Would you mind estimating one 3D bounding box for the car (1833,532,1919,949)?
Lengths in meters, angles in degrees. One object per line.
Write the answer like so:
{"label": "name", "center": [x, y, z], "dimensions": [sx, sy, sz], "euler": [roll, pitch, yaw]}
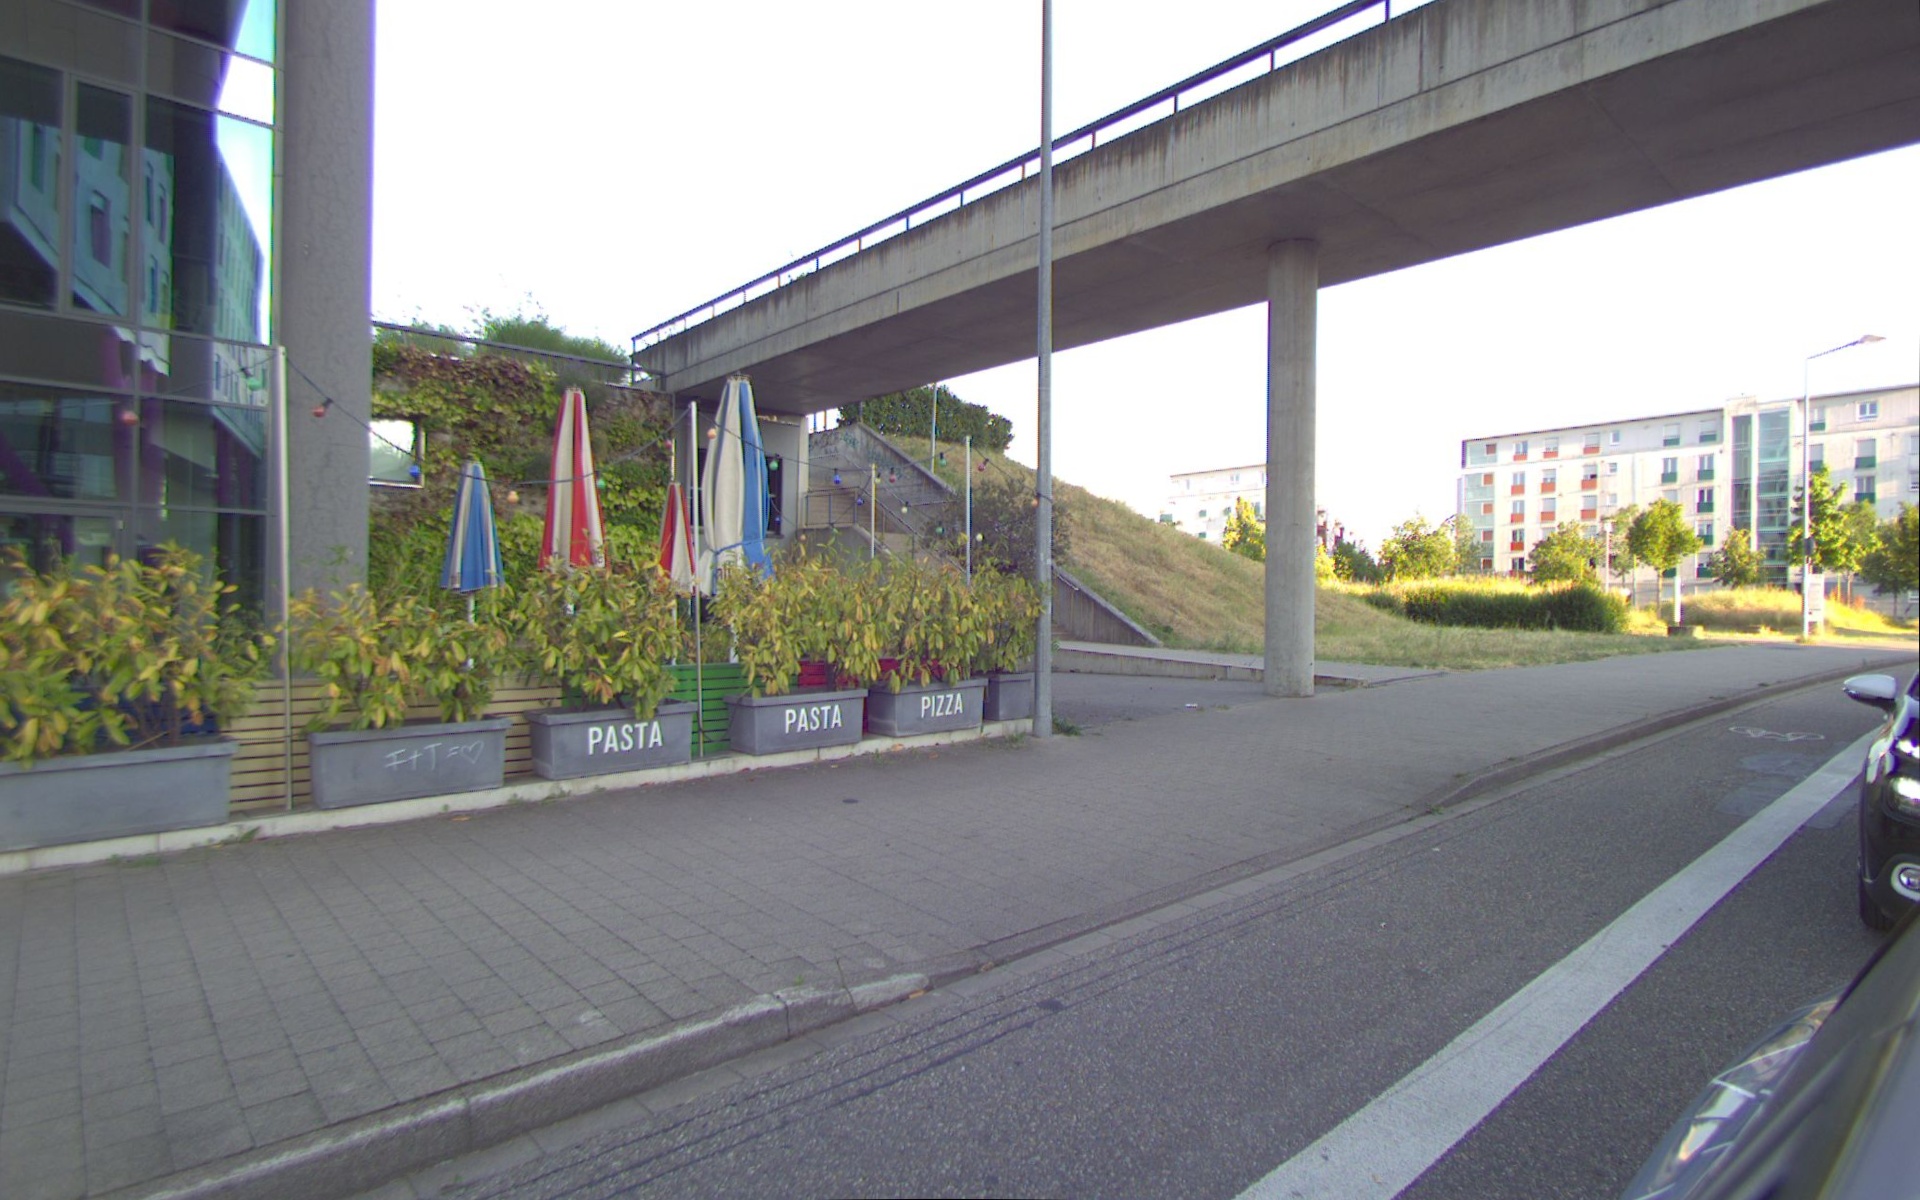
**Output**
{"label": "car", "center": [5.495, 0.541, 4.722], "dimensions": [4.003, 1.572, 1.757], "euler": [0, 0, -43]}
